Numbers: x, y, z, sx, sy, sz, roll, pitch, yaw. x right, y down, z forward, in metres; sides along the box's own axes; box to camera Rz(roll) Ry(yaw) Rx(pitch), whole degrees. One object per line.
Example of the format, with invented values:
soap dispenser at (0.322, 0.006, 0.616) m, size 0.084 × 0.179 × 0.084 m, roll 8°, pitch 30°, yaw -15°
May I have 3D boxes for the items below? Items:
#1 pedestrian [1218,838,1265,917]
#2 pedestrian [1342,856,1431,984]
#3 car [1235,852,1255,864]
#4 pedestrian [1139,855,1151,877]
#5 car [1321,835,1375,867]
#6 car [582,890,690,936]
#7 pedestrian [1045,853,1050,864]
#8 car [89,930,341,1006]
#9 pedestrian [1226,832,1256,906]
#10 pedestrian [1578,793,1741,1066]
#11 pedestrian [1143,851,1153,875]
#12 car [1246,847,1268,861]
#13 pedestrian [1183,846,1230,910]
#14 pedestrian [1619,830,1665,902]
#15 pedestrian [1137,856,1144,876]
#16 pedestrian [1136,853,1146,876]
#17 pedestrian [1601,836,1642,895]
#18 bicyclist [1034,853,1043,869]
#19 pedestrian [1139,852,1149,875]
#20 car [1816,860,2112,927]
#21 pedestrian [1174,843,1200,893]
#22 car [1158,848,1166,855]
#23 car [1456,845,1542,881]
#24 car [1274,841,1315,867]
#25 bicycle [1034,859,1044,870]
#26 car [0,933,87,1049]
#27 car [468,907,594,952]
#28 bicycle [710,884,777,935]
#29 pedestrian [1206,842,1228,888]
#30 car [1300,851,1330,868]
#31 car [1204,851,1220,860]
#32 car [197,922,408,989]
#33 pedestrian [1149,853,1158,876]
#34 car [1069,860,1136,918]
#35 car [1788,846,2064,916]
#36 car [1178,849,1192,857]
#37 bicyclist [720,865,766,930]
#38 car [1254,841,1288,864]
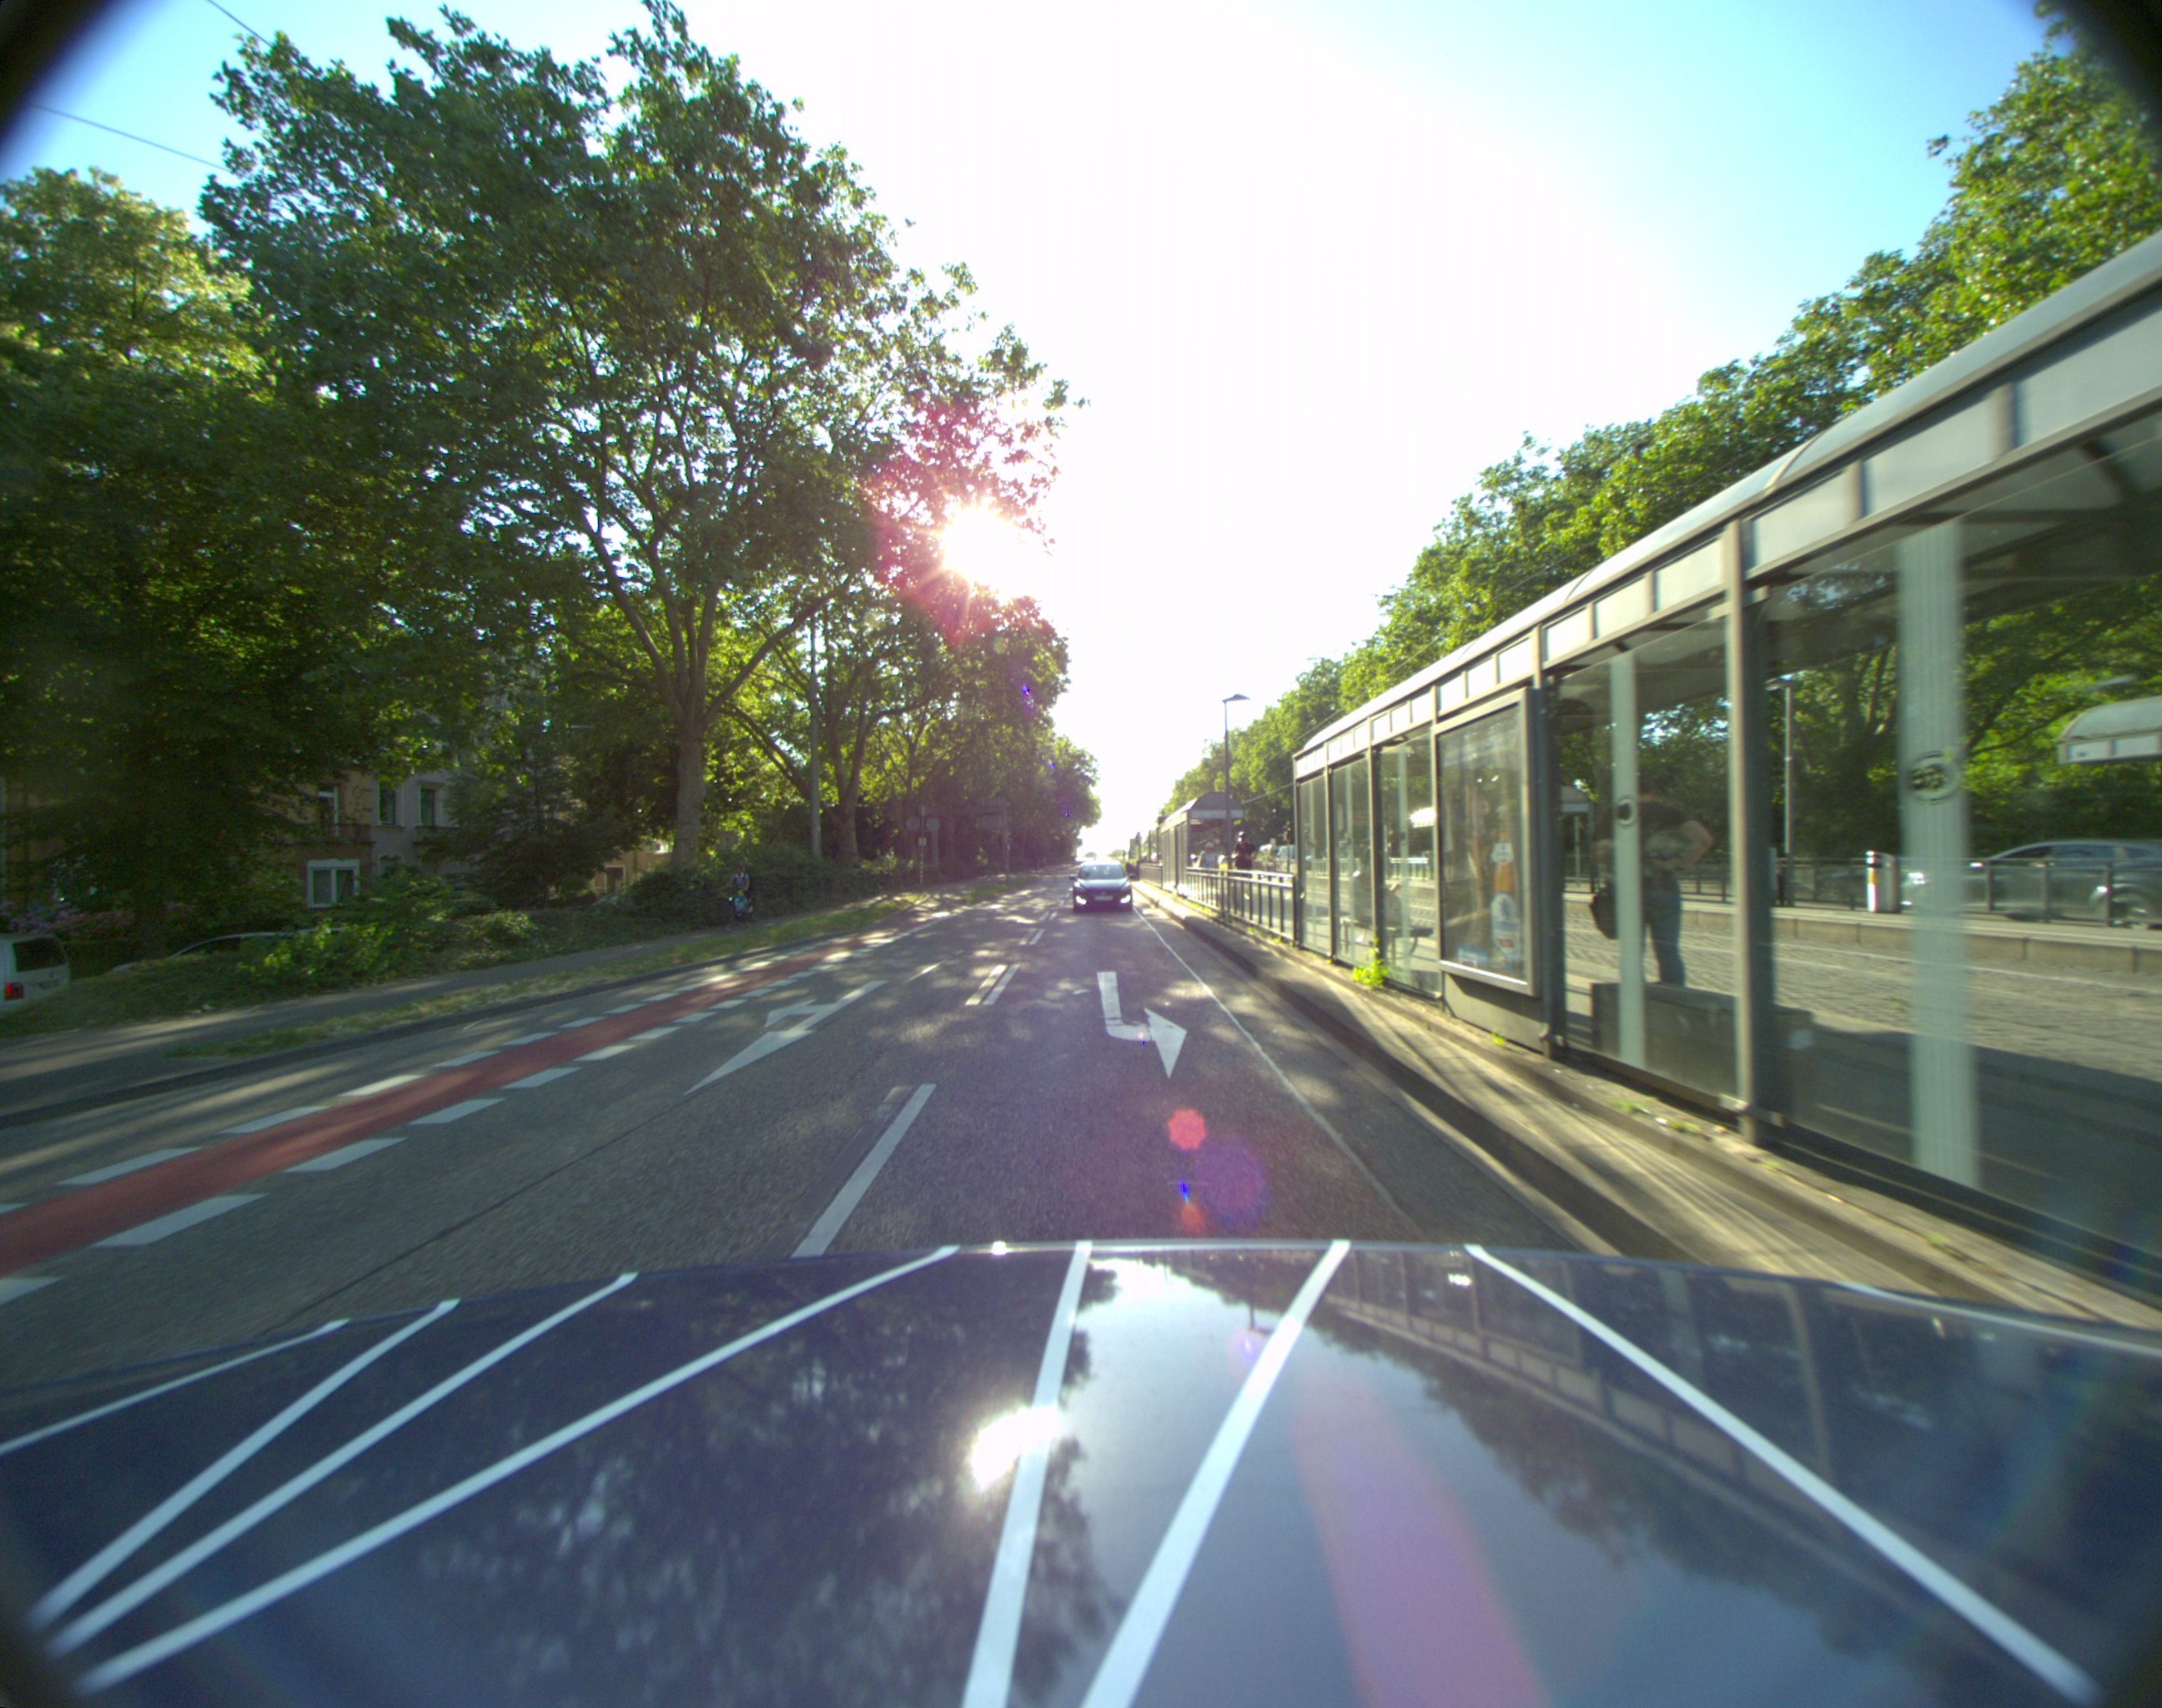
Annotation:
pedestrian at (3.601, 0.519, 17.041) m, size 0.654 × 1.712 × 0.708 m, roll -3°, pitch 1°, yaw -35°
pedestrian at (3.267, 0.687, 8.170) m, size 0.680 × 1.301 × 0.593 m, roll -2°, pitch 1°, yaw 2°
car at (21.131, 0.516, 98.119) m, size 1.743 × 1.546 × 3.881 m, roll 0°, pitch 1°, yaw -1°
pedestrian at (4.089, 0.746, 48.592) m, size 0.592 × 1.398 × 0.558 m, roll 0°, pitch 1°, yaw -19°
car at (21.696, -0.283, 61.959) m, size 2.189 × 2.506 × 6.031 m, roll 0°, pitch 1°, yaw -1°
car at (-21.745, 2.824, 37.336) m, size 4.470 × 2.002 × 1.992 m, roll 0°, pitch -1°, yaw -29°
pedestrian at (-5.004, 0.627, 113.005) m, size 0.649 × 1.626 × 0.928 m, roll 1°, pitch 1°, yaw 2°
car at (-21.879, 2.838, 19.456) m, size 3.932 × 1.443 × 1.685 m, roll 0°, pitch -1°, yaw -33°
pedestrian at (4.089, 0.365, 19.401) m, size 0.652 × 1.831 × 0.711 m, roll -3°, pitch 1°, yaw 11°
pedestrian at (3.748, 0.468, 4.965) m, size 0.596 × 1.668 × 0.589 m, roll -2°, pitch 1°, yaw 6°
pedestrian at (4.458, 0.601, 50.651) m, size 0.520 × 1.559 × 0.509 m, roll 1°, pitch 1°, yaw 31°
car at (21.337, -0.006, 92.247) m, size 1.743 × 1.718 × 3.881 m, roll 0°, pitch 1°, yaw -1°
pedestrian at (3.292, 0.627, 19.885) m, size 0.800 × 1.624 × 0.868 m, roll -3°, pitch 0°, yaw 39°
pedestrian at (14.229, 0.292, 19.294) m, size 0.649 × 1.762 × 0.650 m, roll -3°, pitch 1°, yaw 3°
pedestrian at (3.824, 0.787, 49.161) m, size 0.417 × 1.313 × 0.359 m, roll 1°, pitch 1°, yaw 1°
pedestrian at (3.940, 0.665, 49.680) m, size 0.591 × 1.511 × 0.514 m, roll 1°, pitch 1°, yaw 2°
pedestrian at (14.264, 0.295, 20.074) m, size 0.594 × 1.535 × 0.626 m, roll -3°, pitch 1°, yaw 1°
bicyclist at (-4.674, 0.750, 83.815) m, size 0.700 × 1.718 × 1.081 m, roll -1°, pitch 0°, yaw 9°
pedestrian at (4.170, 0.620, 50.250) m, size 0.520 × 1.559 × 0.509 m, roll 1°, pitch 1°, yaw 31°
car at (19.999, 0.815, 17.565) m, size 1.774 × 1.284 × 4.314 m, roll 0°, pitch 1°, yaw -1°
pedestrian at (3.694, 0.492, 26.599) m, size 0.744 × 1.684 × 0.791 m, roll -3°, pitch 1°, yaw 2°
car at (21.087, -0.706, 197.878) m, size 1.734 × 1.730 × 3.899 m, roll 0°, pitch 1°, yaw -1°
car at (20.568, 0.396, 37.579) m, size 1.908 × 1.642 × 3.971 m, roll 0°, pitch 1°, yaw -2°
car at (21.543, -0.033, 76.970) m, size 2.189 × 2.506 × 6.269 m, roll 0°, pitch 1°, yaw -2°
bicycle at (-4.662, 1.154, 83.818) m, size 0.700 × 1.101 × 1.931 m, roll -1°, pitch 0°, yaw 9°
car at (-21.814, 2.576, 13.486) m, size 4.690 × 1.954 × 1.868 m, roll 0°, pitch -1°, yaw -31°
car at (-22.380, 3.029, 31.118) m, size 4.007 × 1.501 × 1.796 m, roll 0°, pitch -1°, yaw -31°
bicycle at (-8.163, 1.321, 18.456) m, size 0.768 × 1.101 × 1.800 m, roll -2°, pitch 0°, yaw 1°
pedestrian at (4.759, 0.387, 26.603) m, size 0.589 × 1.558 × 0.650 m, roll -3°, pitch 1°, yaw 2°
car at (21.683, 0.499, 70.418) m, size 1.656 × 1.504 × 3.264 m, roll 0°, pitch 1°, yaw -2°
car at (20.864, 0.202, 121.101) m, size 1.832 × 1.428 × 4.323 m, roll 0°, pitch 1°, yaw -1°
car at (-22.604, 2.904, 22.302) m, size 4.007 × 1.501 × 1.796 m, roll 0°, pitch -1°, yaw -31°
pedestrian at (4.768, 0.676, 49.889) m, size 0.521 × 1.464 × 0.514 m, roll 1°, pitch 1°, yaw 2°
car at (0.627, 0.991, 23.167) m, size 1.799 × 1.501 × 4.000 m, roll -3°, pitch 0°, yaw 1°
car at (20.088, 0.552, 18.414) m, size 1.799 × 1.501 × 4.340 m, roll 0°, pitch 1°, yaw -1°
car at (20.998, -0.218, 153.752) m, size 1.832 × 1.709 × 4.392 m, roll 0°, pitch 1°, yaw -5°
bicyclist at (-8.163, 1.042, 18.363) m, size 0.768 × 1.504 × 0.650 m, roll -2°, pitch 0°, yaw 0°
car at (21.221, -0.171, 85.011) m, size 2.189 × 2.506 × 6.049 m, roll 0°, pitch 1°, yaw -1°
